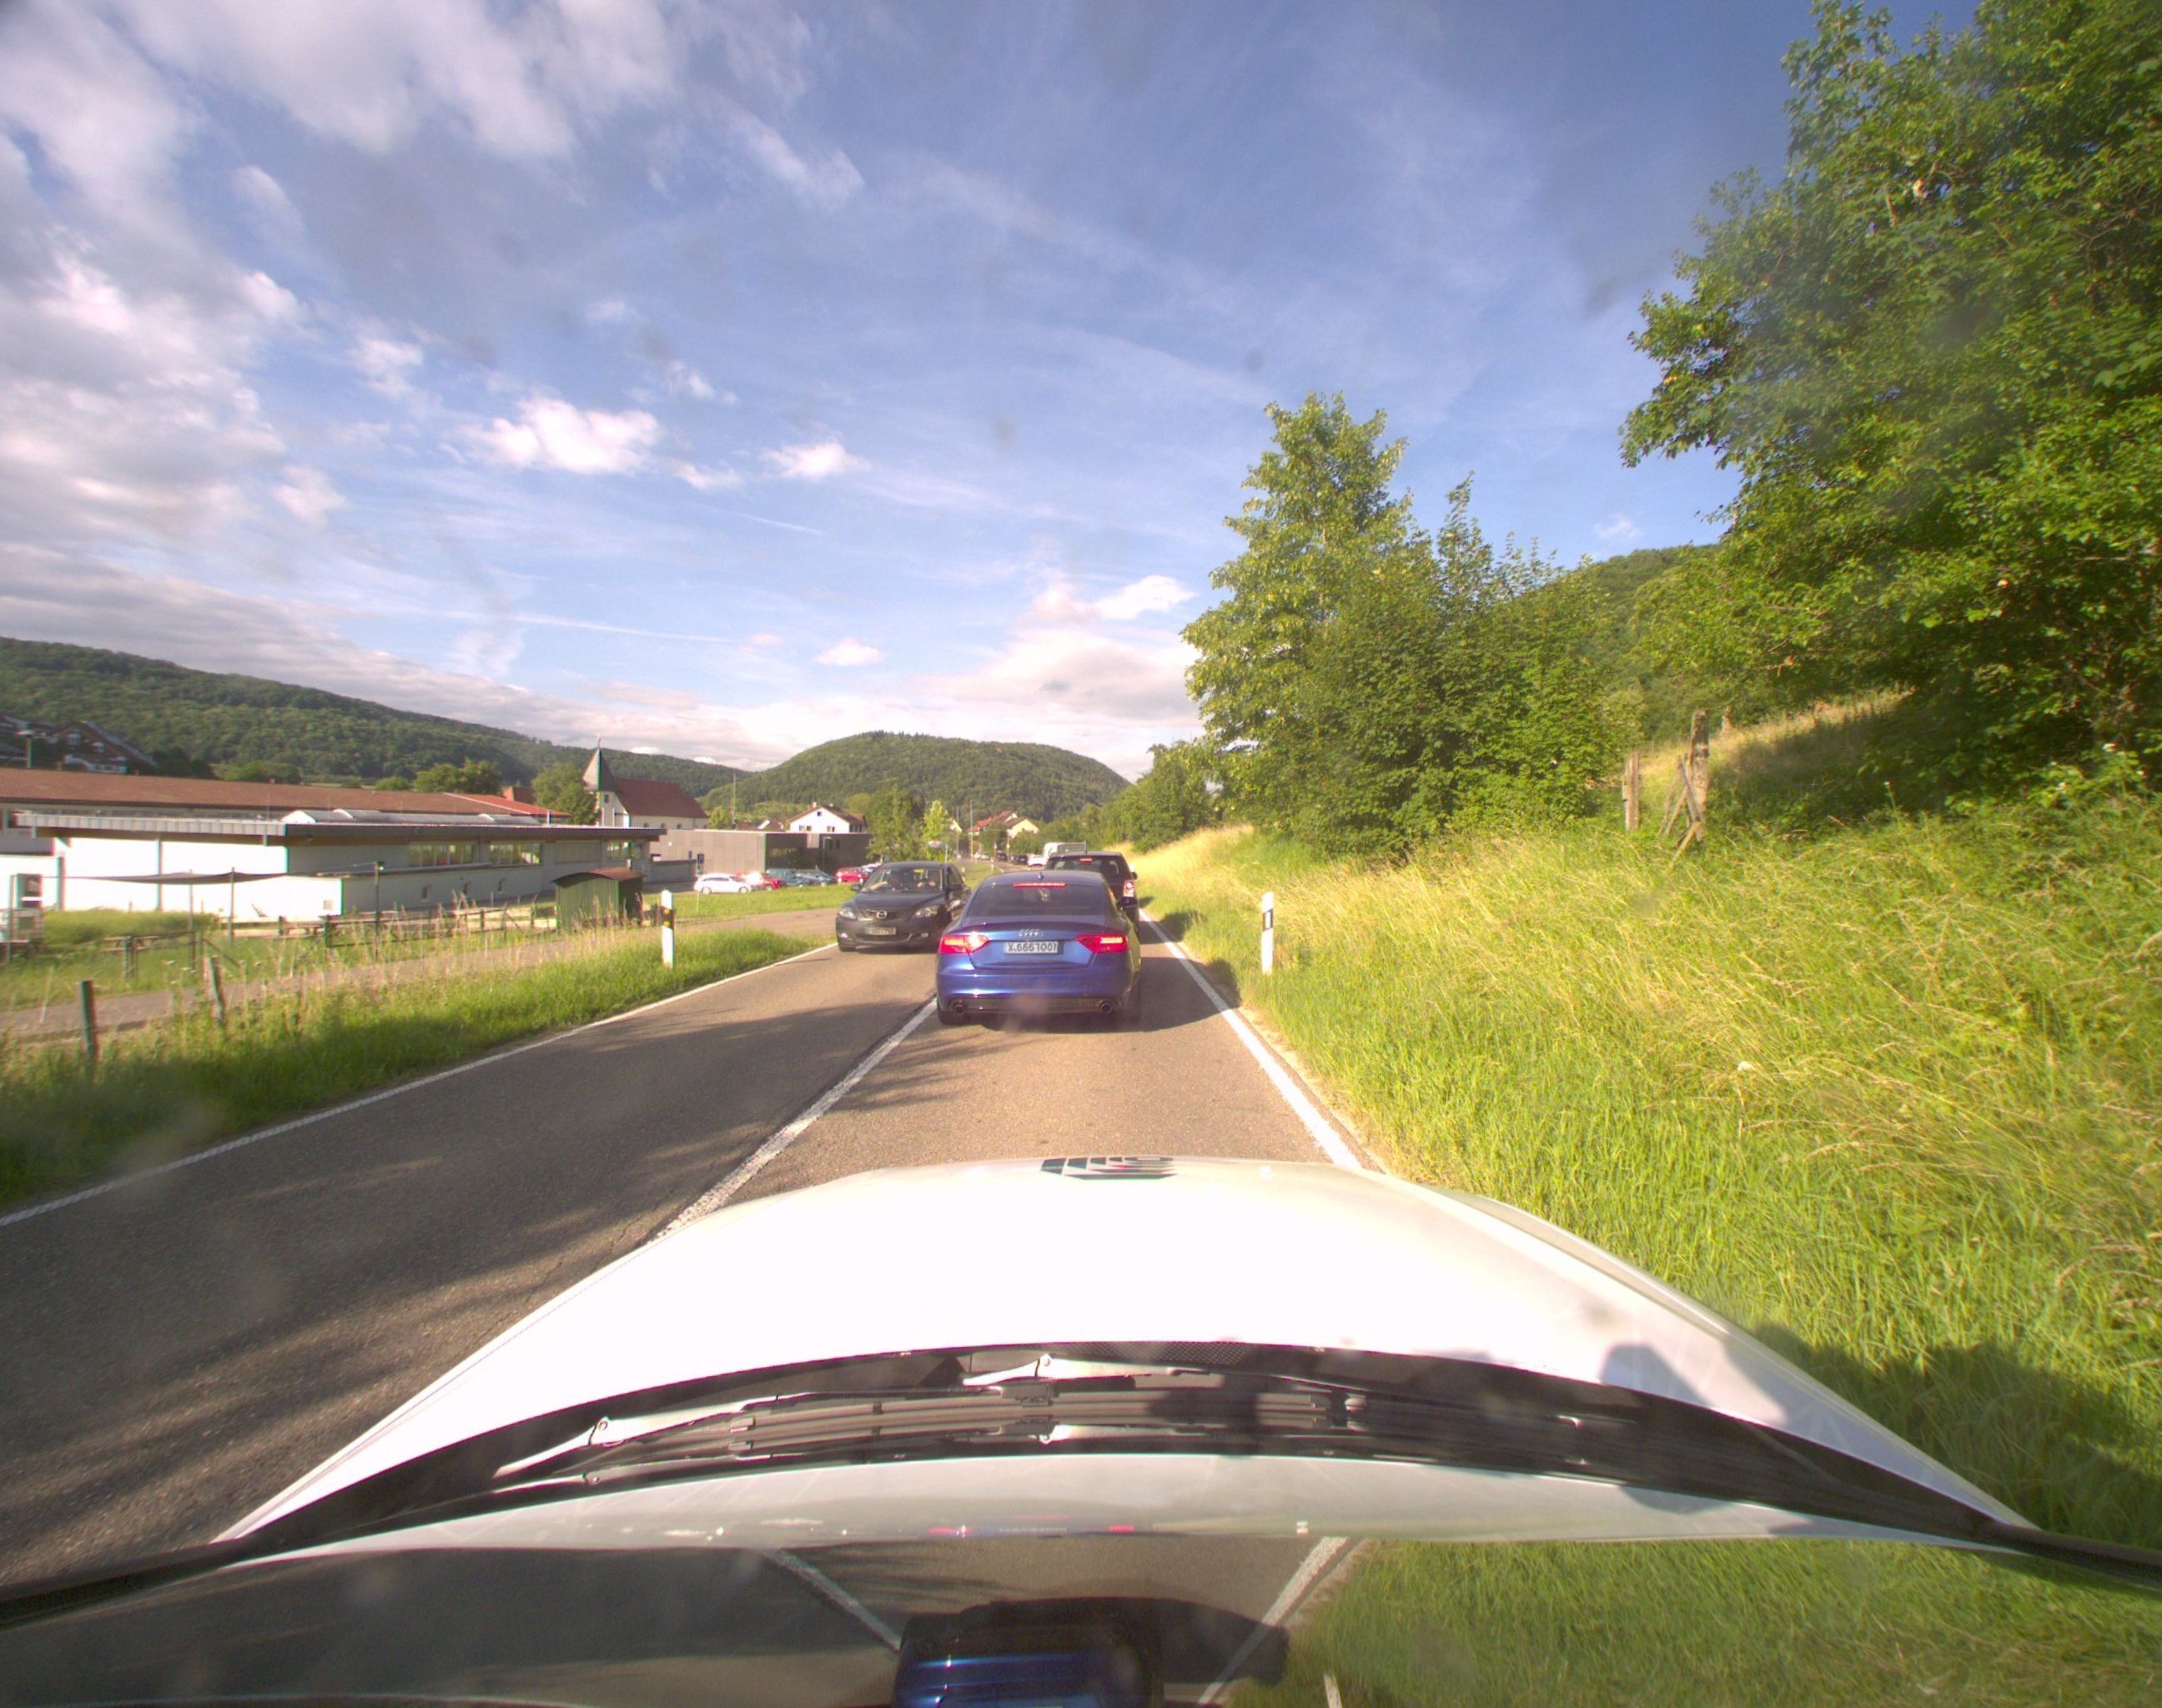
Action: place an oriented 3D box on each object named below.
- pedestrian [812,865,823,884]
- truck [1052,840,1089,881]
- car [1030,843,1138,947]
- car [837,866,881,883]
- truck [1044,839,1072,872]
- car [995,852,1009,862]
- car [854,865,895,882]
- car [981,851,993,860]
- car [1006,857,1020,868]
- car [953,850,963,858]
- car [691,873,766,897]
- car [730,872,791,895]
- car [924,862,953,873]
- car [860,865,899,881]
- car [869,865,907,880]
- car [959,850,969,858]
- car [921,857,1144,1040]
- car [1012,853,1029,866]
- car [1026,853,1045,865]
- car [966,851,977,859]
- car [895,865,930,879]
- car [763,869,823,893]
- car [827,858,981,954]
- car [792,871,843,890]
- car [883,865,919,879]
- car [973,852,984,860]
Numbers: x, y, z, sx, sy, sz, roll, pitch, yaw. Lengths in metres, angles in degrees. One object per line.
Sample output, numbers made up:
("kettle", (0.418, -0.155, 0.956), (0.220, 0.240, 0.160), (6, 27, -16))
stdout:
("pedestrian", (-29.047, 2.239, 89.756), (0.822, 2.014, 0.973), (0, -1, 1))
("truck", (-0.753, 0.412, 54.081), (2.225, 2.570, 6.096), (0, -1, -3))
("car", (0.140, 0.679, 15.171), (1.747, 1.681, 3.849), (0, -1, 3))
("car", (-23.093, 2.088, 84.763), (3.975, 1.711, 1.999), (0, -1, -1))
("truck", (-1.978, 0.151, 68.487), (2.225, 2.570, 6.700), (0, -1, -3))
("car", (-13.908, 0.592, 142.906), (1.847, 1.712, 3.982), (0, -1, -13))
("car", (-22.649, 2.127, 89.304), (3.975, 1.711, 1.999), (0, -1, -1))
("car", (-18.676, 0.378, 161.814), (1.848, 1.712, 3.981), (0, -1, -13))
("car", (-10.616, 1.328, 126.989), (1.846, 1.712, 3.985), (0, -1, -10))
("car", (-29.958, -0.002, 198.760), (1.849, 1.712, 3.978), (0, -1, -16))
("car", (-26.428, 2.315, 61.207), (4.717, 1.711, 1.999), (0, -1, -1))
("car", (-25.205, 2.333, 64.188), (3.975, 1.711, 1.999), (0, -1, -1))
("car", (-20.811, 1.945, 119.251), (3.975, 1.579, 1.752), (0, -1, -1))
("car", (-23.008, 2.163, 92.972), (3.975, 1.711, 1.999), (0, -1, -1))
("car", (-22.801, 2.192, 96.253), (3.975, 1.711, 1.999), (0, -1, -1))
("car", (-27.312, 0.072, 189.855), (1.849, 1.712, 3.978), (0, -1, -16))
("car", (-0.293, 0.766, 8.343), (1.747, 1.430, 3.849), (0, -1, 3))
("car", (-8.191, 0.748, 109.808), (1.847, 1.712, 3.984), (0, -1, -12))
("car", (-5.460, 0.617, 97.869), (1.846, 1.482, 3.986), (0, -1, -10))
("car", (-24.279, 0.137, 180.332), (1.849, 1.712, 3.978), (0, -1, -16))
("car", (-21.641, 2.261, 104.693), (3.975, 1.711, 1.999), (0, -1, -1))
("car", (-24.705, 2.314, 69.991), (4.393, 2.008, 1.999), (0, -1, -1))
("car", (-2.902, 0.800, 14.256), (1.698, 1.430, 4.052), (0, -1, 2))
("car", (-24.090, 2.419, 74.482), (3.975, 1.711, 1.999), (0, -1, -1))
("car", (-22.556, 2.243, 102.038), (3.975, 1.711, 1.999), (0, -1, -1))
("car", (-21.490, 0.413, 170.538), (1.849, 1.712, 3.978), (0, -1, -16))
